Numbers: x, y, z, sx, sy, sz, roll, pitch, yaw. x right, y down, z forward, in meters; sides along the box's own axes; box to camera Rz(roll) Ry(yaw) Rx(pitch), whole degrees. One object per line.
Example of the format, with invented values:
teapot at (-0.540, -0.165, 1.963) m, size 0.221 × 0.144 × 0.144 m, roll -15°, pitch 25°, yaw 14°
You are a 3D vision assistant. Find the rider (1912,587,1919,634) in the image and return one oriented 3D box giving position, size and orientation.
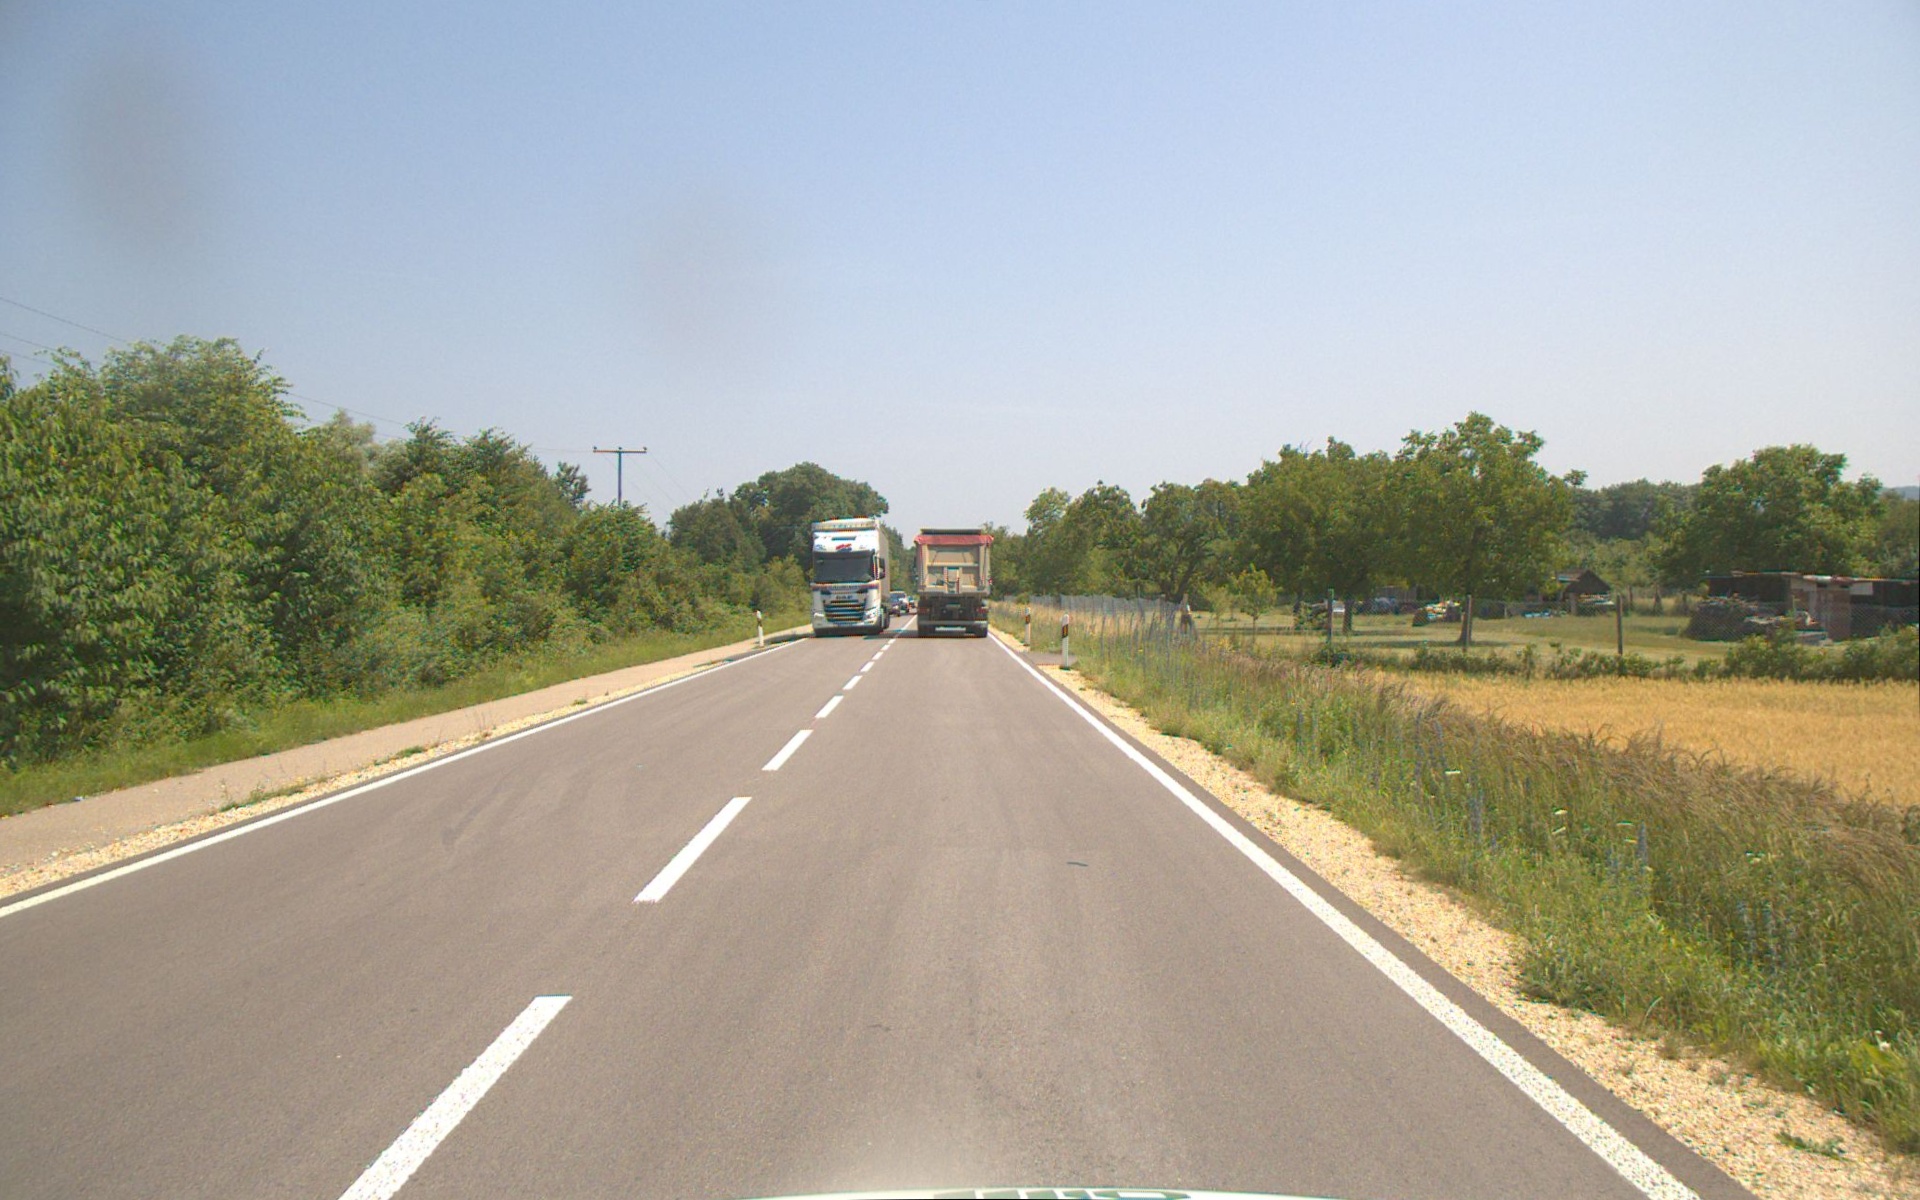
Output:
rider at (25.933, 0.287, 43.654) m, size 1.005 × 1.239 × 0.984 m, roll 0°, pitch 0°, yaw -7°

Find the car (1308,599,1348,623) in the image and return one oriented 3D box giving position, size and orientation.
car at (25.188, 0.741, 113.306) m, size 1.563 × 1.512 × 3.421 m, roll 0°, pitch 1°, yaw -9°

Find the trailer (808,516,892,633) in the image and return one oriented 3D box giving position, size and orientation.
trailer at (-4.445, -1.003, 69.500) m, size 2.662 × 4.340 × 13.808 m, roll -2°, pitch 0°, yaw -1°

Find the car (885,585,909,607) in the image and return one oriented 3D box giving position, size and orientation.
car at (-4.814, -0.294, 127.410) m, size 1.723 × 1.634 × 4.480 m, roll -2°, pitch 0°, yaw -1°

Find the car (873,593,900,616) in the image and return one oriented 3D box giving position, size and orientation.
car at (-4.757, 0.284, 107.128) m, size 1.660 × 1.431 × 4.044 m, roll -2°, pitch 0°, yaw -2°

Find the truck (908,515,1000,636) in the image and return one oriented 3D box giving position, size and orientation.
truck at (-0.290, -0.814, 61.019) m, size 2.948 × 3.942 × 12.206 m, roll 1°, pitch 0°, yaw -1°

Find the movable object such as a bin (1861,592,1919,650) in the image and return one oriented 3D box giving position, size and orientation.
movable object such as a bin at (25.956, 0.559, 44.183) m, size 1.540 × 1.522 × 3.655 m, roll 0°, pitch 0°, yaw -5°

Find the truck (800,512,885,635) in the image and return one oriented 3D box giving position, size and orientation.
truck at (-4.404, -0.975, 63.422) m, size 2.662 × 4.340 × 7.388 m, roll -2°, pitch 0°, yaw -1°
